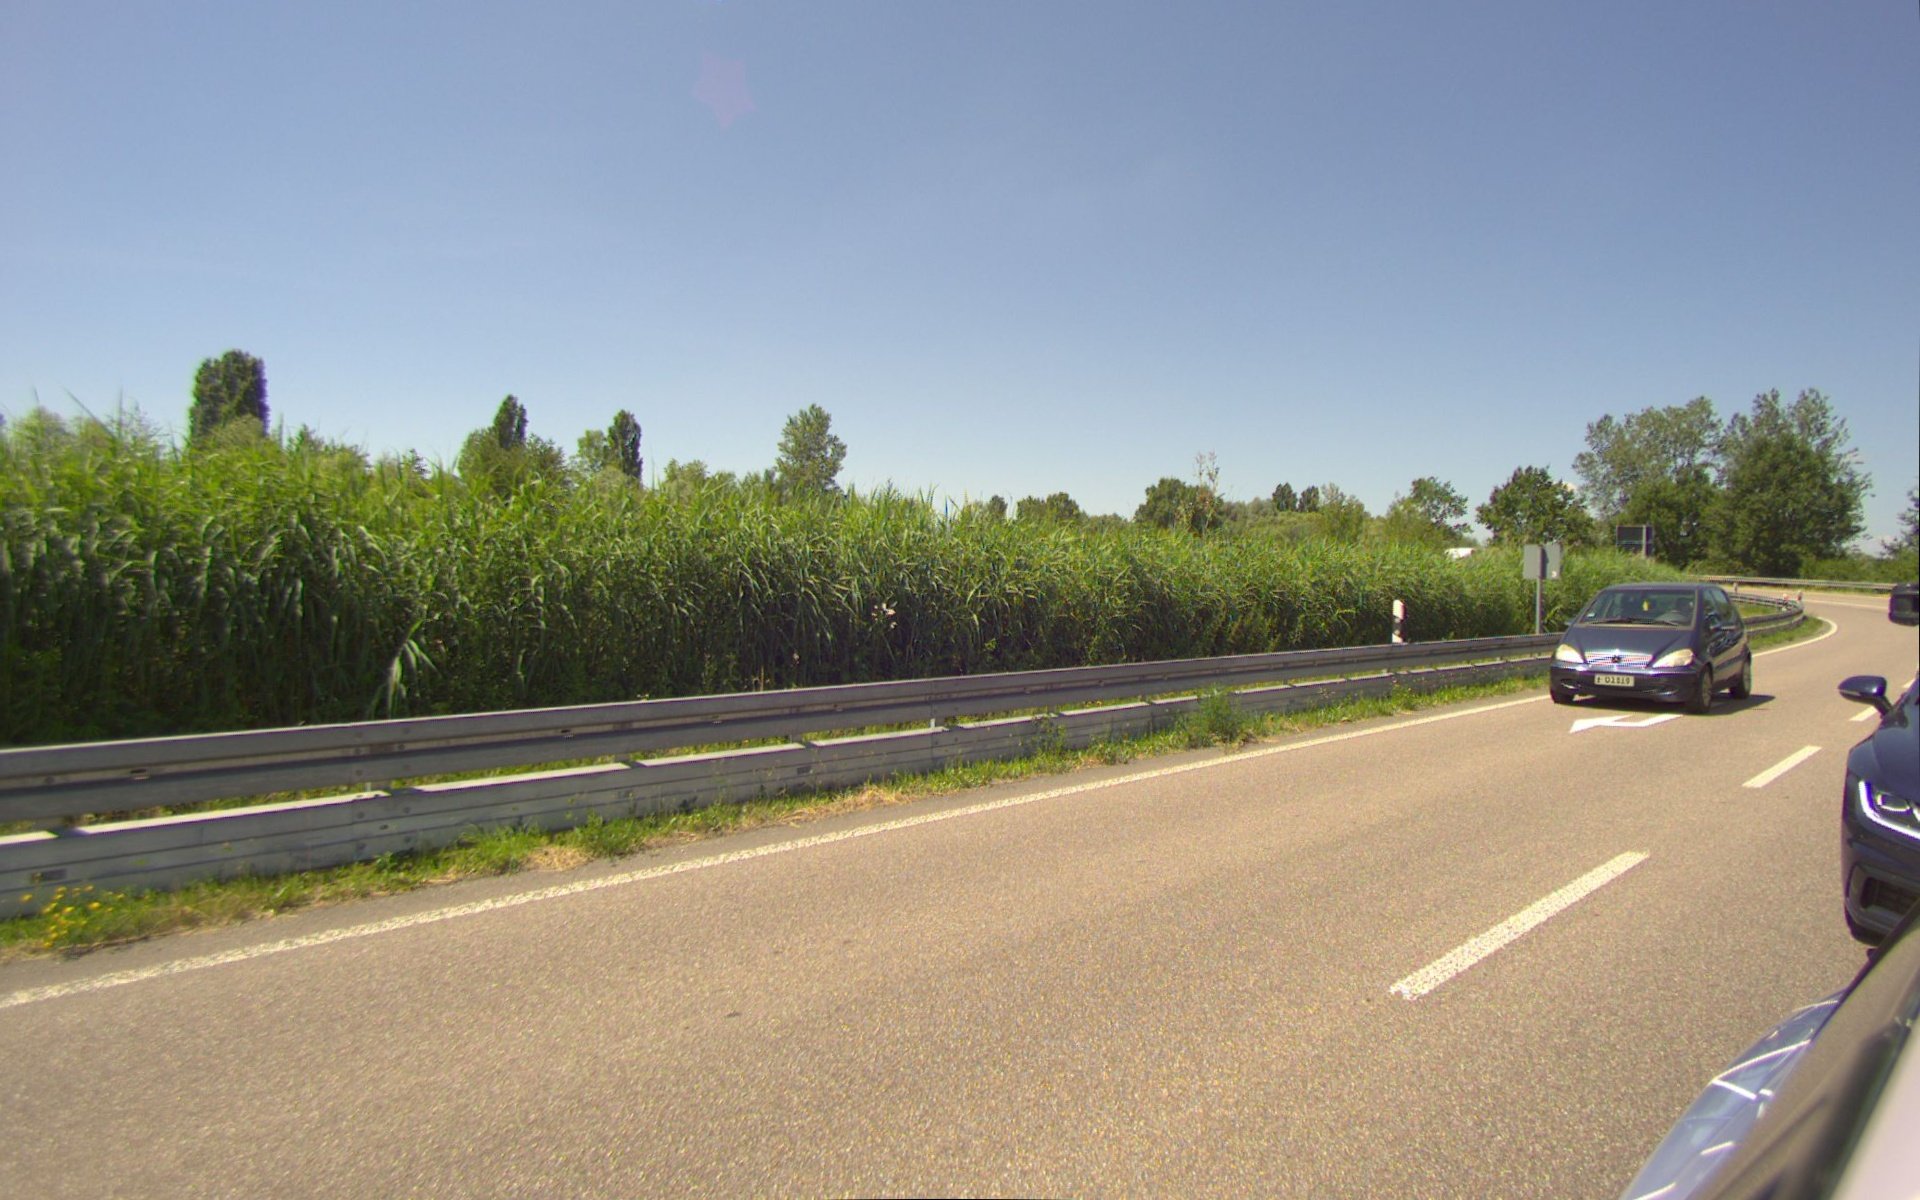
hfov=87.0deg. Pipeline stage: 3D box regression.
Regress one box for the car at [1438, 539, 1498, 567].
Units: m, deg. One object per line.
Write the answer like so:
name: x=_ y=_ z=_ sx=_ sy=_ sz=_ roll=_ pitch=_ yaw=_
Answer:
car: x=48.475 y=-4.523 z=96.683 sx=1.958 sy=2.445 sz=5.605 roll=-3 pitch=4 yaw=-14

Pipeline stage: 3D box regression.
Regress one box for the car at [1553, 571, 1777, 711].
car: x=9.507 y=0.450 z=13.563 sx=3.491 sy=1.620 sz=1.671 roll=-1 pitch=1 yaw=-41

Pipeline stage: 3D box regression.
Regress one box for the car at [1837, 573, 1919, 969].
car: x=5.655 y=0.626 z=4.688 sx=4.338 sy=1.481 sz=1.818 roll=-1 pitch=1 yaw=-41
